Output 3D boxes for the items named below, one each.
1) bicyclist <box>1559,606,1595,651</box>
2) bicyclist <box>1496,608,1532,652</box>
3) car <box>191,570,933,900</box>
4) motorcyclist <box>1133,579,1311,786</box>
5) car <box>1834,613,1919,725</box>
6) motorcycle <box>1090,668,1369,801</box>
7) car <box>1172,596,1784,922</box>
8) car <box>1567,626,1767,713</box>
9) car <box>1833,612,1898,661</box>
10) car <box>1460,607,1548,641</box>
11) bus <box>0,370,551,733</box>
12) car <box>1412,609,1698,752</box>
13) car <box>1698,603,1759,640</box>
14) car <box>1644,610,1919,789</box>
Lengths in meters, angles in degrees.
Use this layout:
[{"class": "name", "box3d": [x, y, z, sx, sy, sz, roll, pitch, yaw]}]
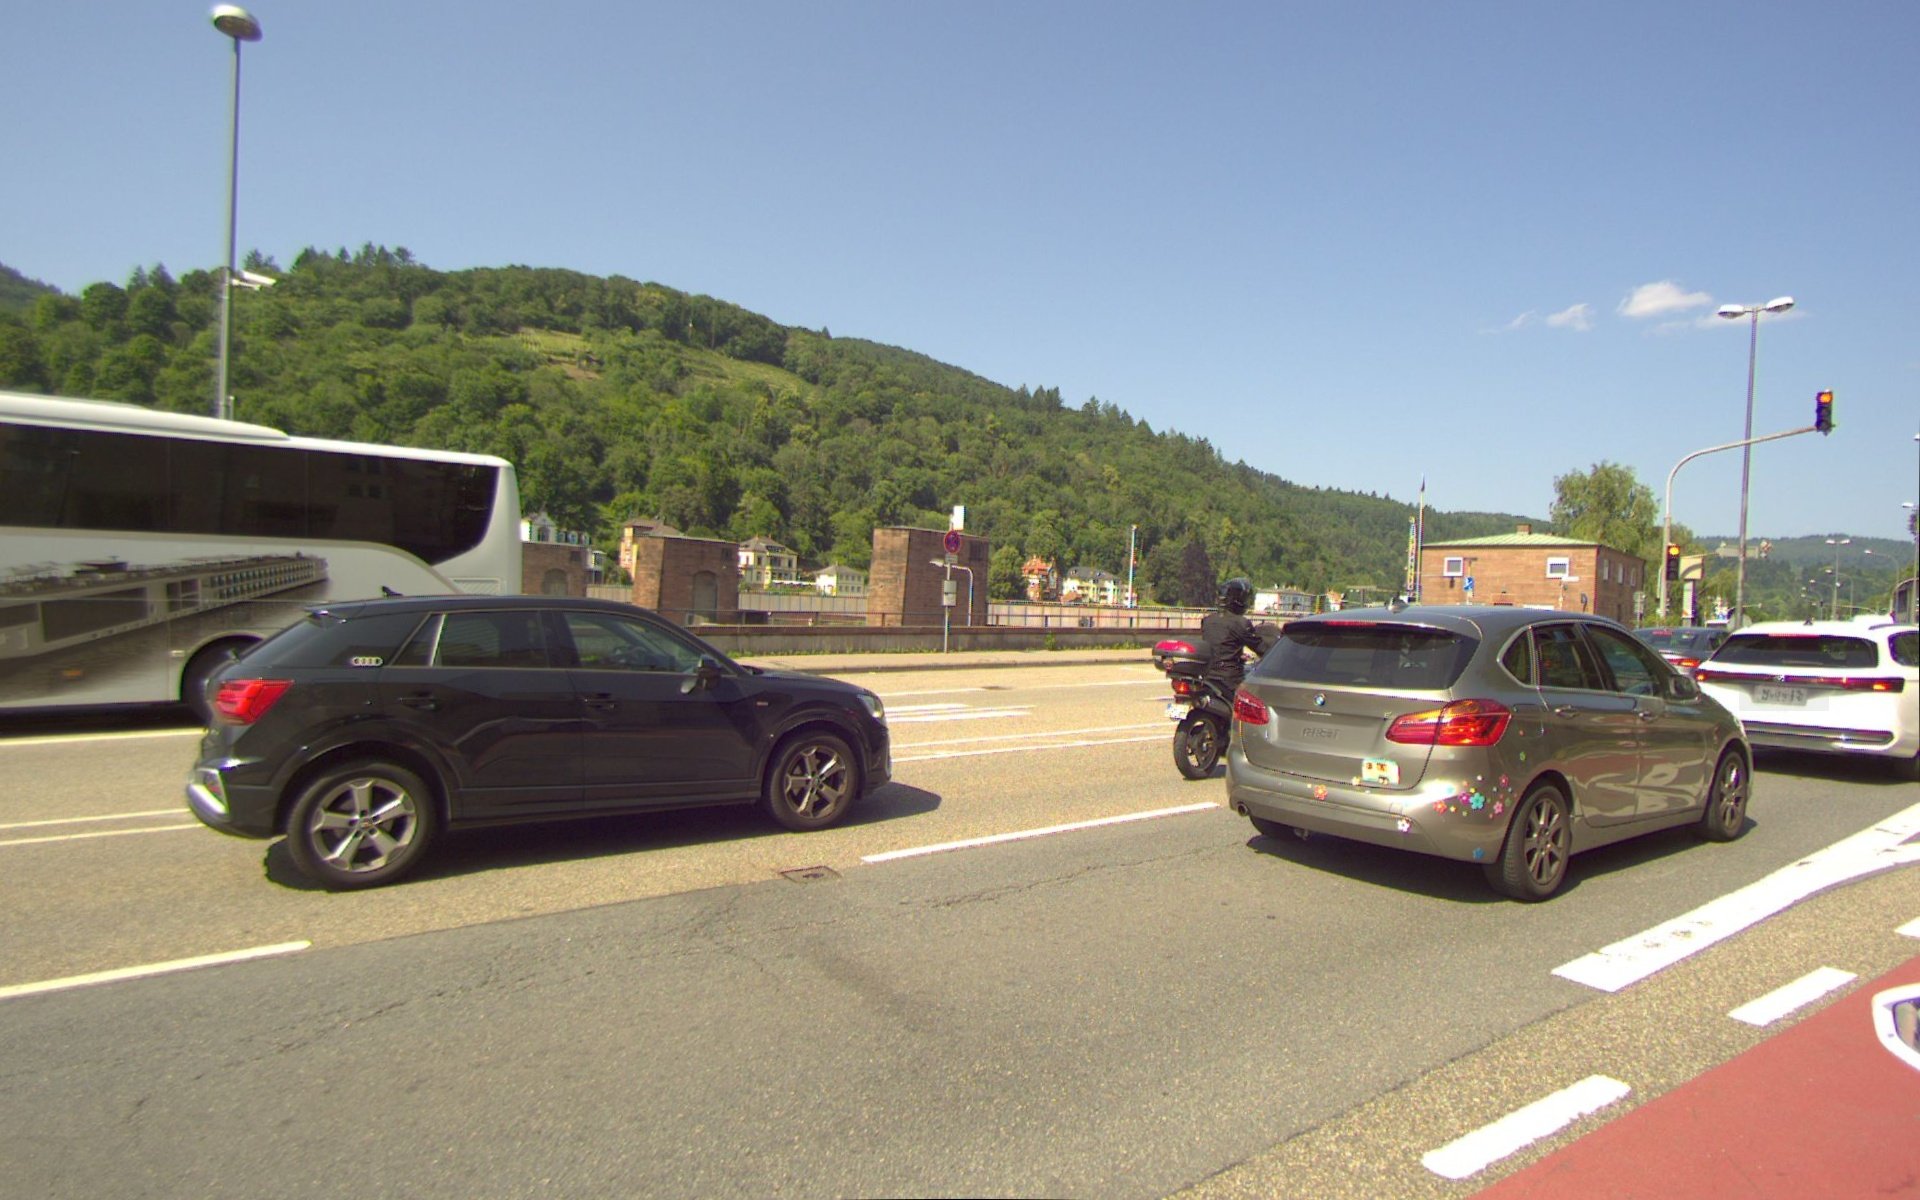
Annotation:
[{"class": "bicyclist", "box3d": [29.017, 1.326, 47.260, 1.111, 2.040, 1.200, 1, -1, -44]}, {"class": "bicyclist", "box3d": [25.972, 1.407, 47.066, 1.111, 2.040, 1.200, 1, -1, -44]}, {"class": "car", "box3d": [-2.402, 0.674, 6.627, 4.109, 1.534, 1.857, 2, -1, -35]}, {"class": "motorcyclist", "box3d": [2.350, 0.691, 9.055, 1.144, 1.707, 1.069, 1, 0, -34]}, {"class": "car", "box3d": [15.169, 1.019, 15.378, 4.692, 1.552, 1.773, 2, -1, -37]}, {"class": "motorcycle", "box3d": [2.487, 1.146, 9.117, 2.578, 0.932, 1.031, 1, -1, -35]}, {"class": "car", "box3d": [3.619, 0.800, 6.759, 4.262, 1.541, 1.876, 2, 0, -35]}, {"class": "car", "box3d": [12.931, 1.182, 18.316, 3.962, 1.377, 1.853, 1, -1, -36]}, {"class": "car", "box3d": [51.010, 2.011, 56.685, 2.354, 2.610, 6.028, 0, -1, 39]}, {"class": "car", "box3d": [34.388, 1.527, 63.634, 4.524, 2.040, 2.001, 1, -1, 14]}, {"class": "bus", "box3d": [-11.817, -0.606, 11.206, 13.131, 3.852, 2.932, 1, 3, -39]}, {"class": "car", "box3d": [7.851, 0.928, 13.149, 3.962, 1.583, 1.853, 1, -1, -36]}, {"class": "car", "box3d": [46.133, 1.264, 60.244, 5.008, 2.106, 2.193, 1, -1, -44]}, {"class": "car", "box3d": [9.570, 0.901, 10.958, 4.810, 1.554, 1.980, 1, -1, -36]}]
